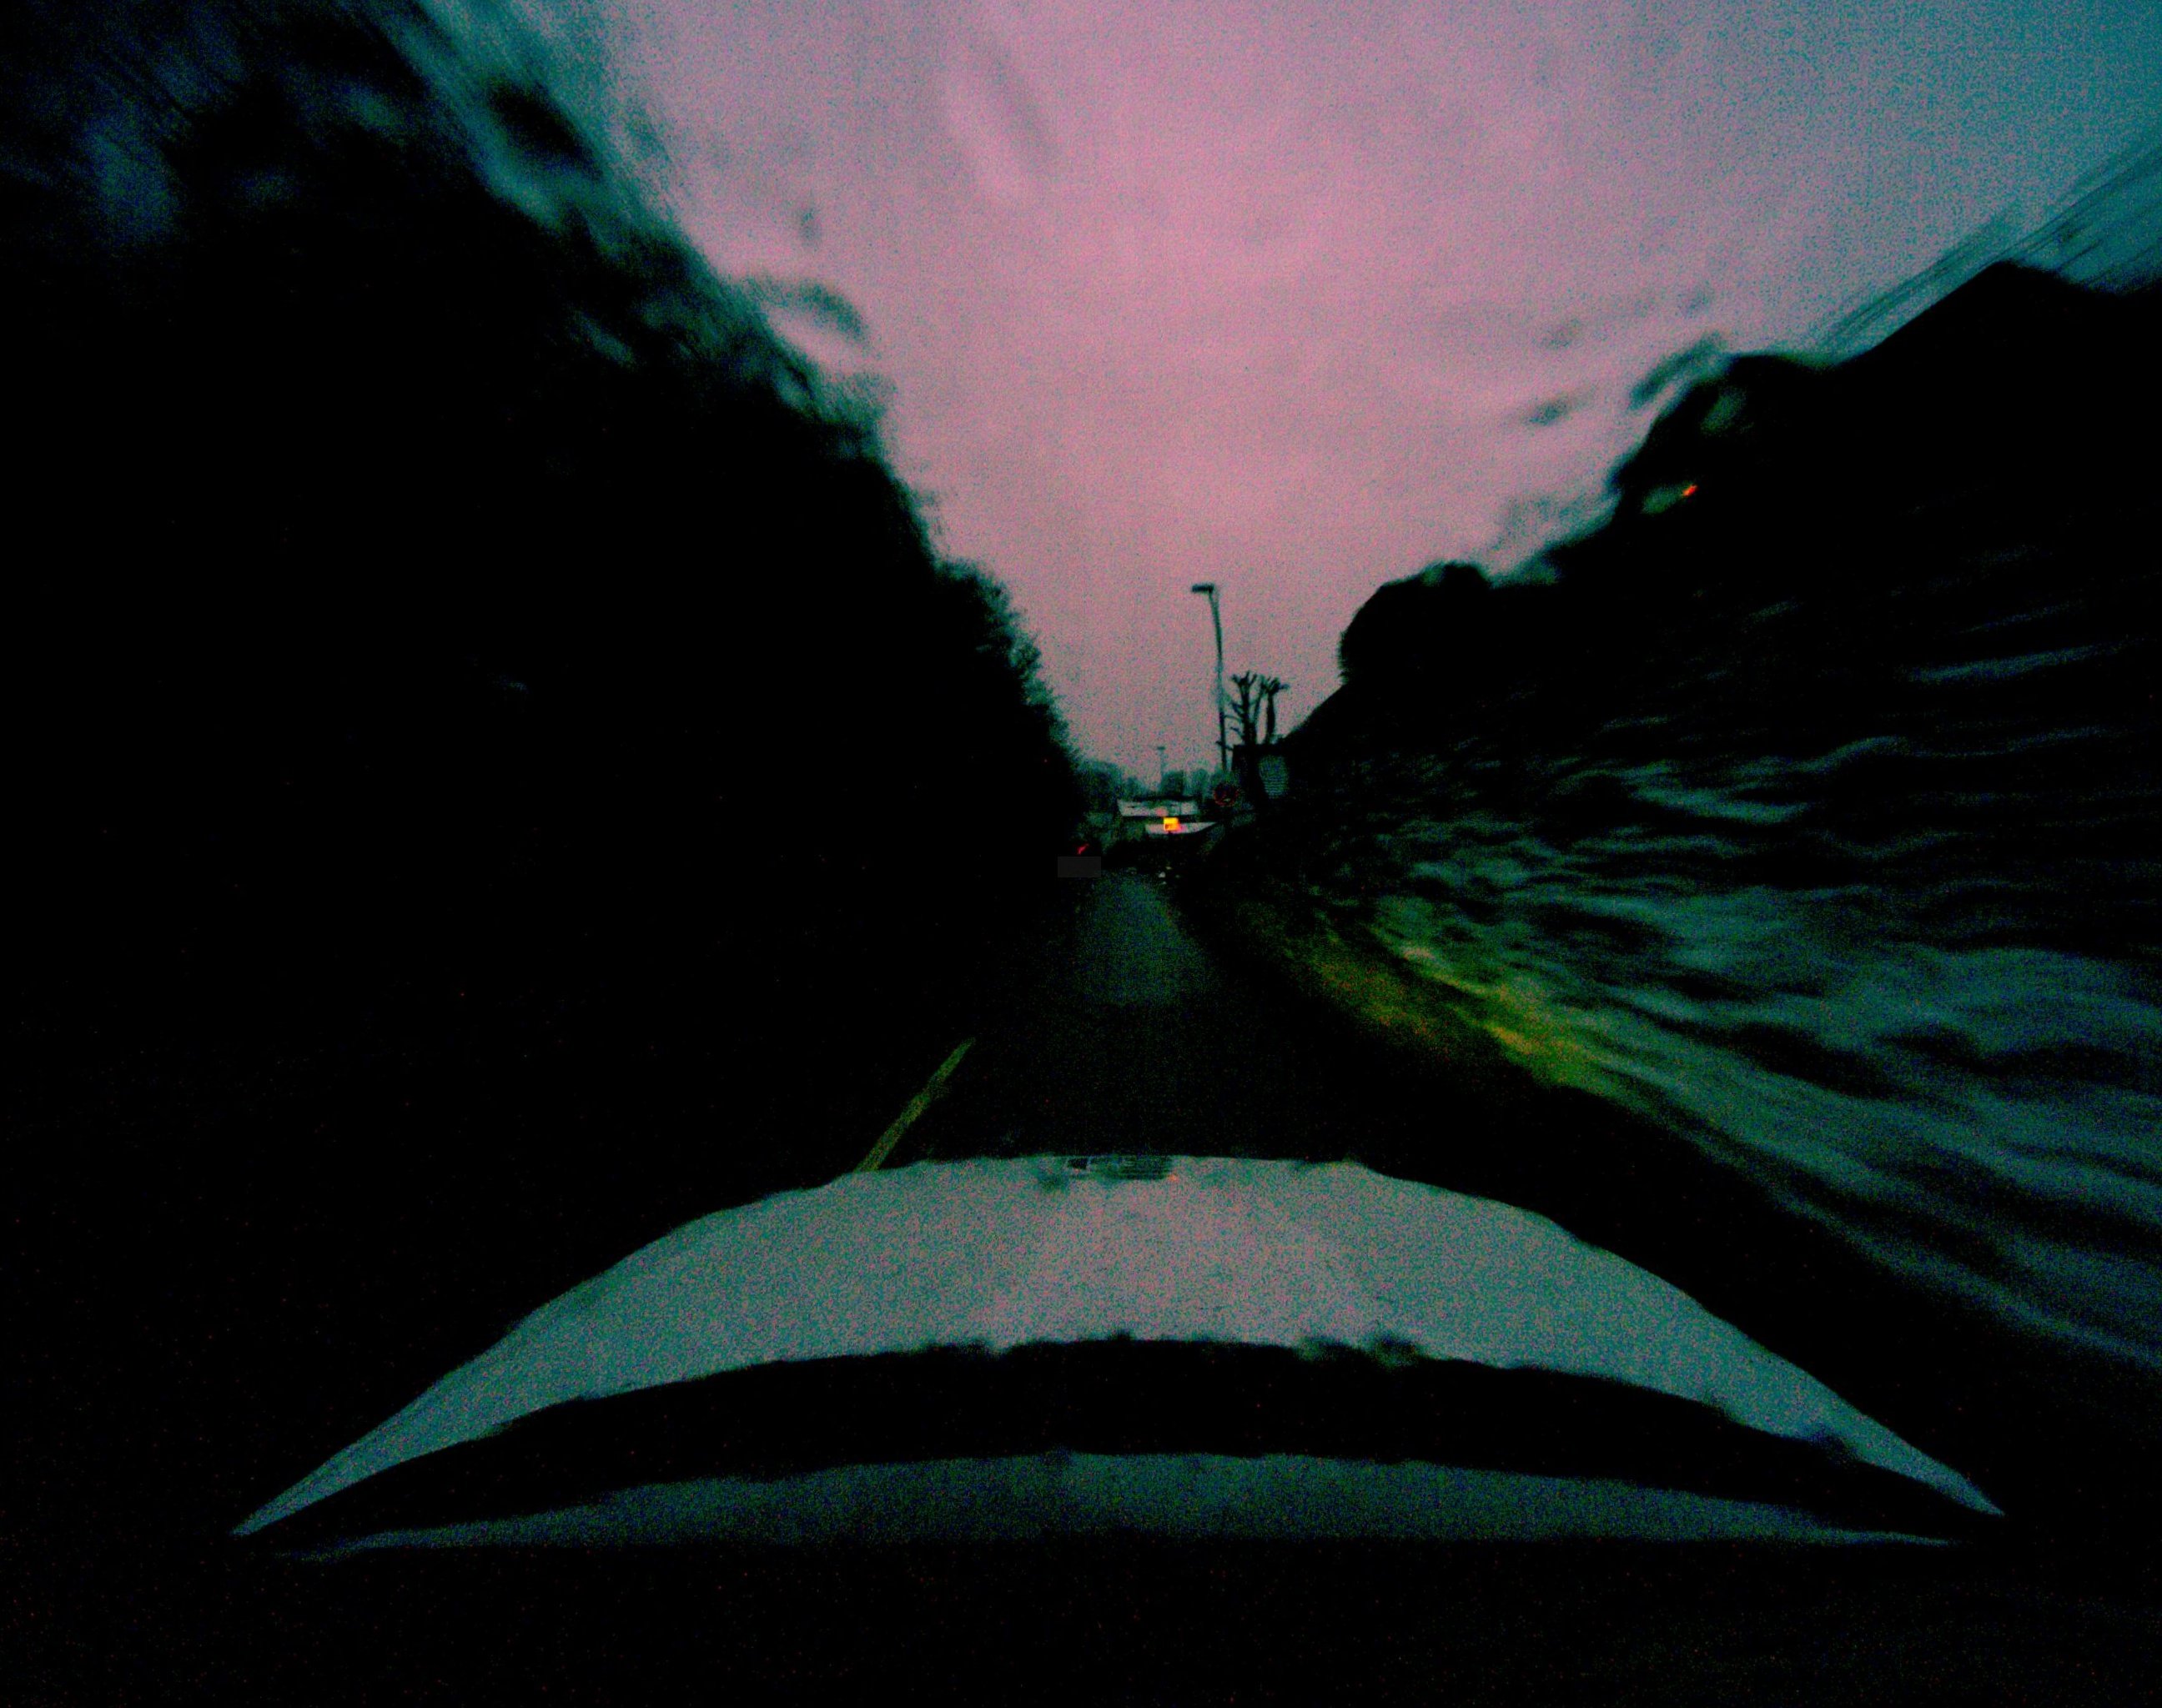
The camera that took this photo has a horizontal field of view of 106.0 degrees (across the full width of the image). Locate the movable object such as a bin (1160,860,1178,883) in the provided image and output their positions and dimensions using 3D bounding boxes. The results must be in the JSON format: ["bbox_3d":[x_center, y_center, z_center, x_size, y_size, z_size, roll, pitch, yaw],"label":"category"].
[{"bbox_3d":[3.986,0.802,36.993,0.681,1.004,0.859,-4,-3,10],"label":"movable object such as a bin"}]

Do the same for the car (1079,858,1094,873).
[{"bbox_3d":[0.727,1.509,105.383,1.797,1.739,4.002,1,-2,3],"label":"car"}]

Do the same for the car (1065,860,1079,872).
[{"bbox_3d":[-1.337,1.757,118.531,1.797,1.618,4.002,1,-2,3],"label":"car"}]
